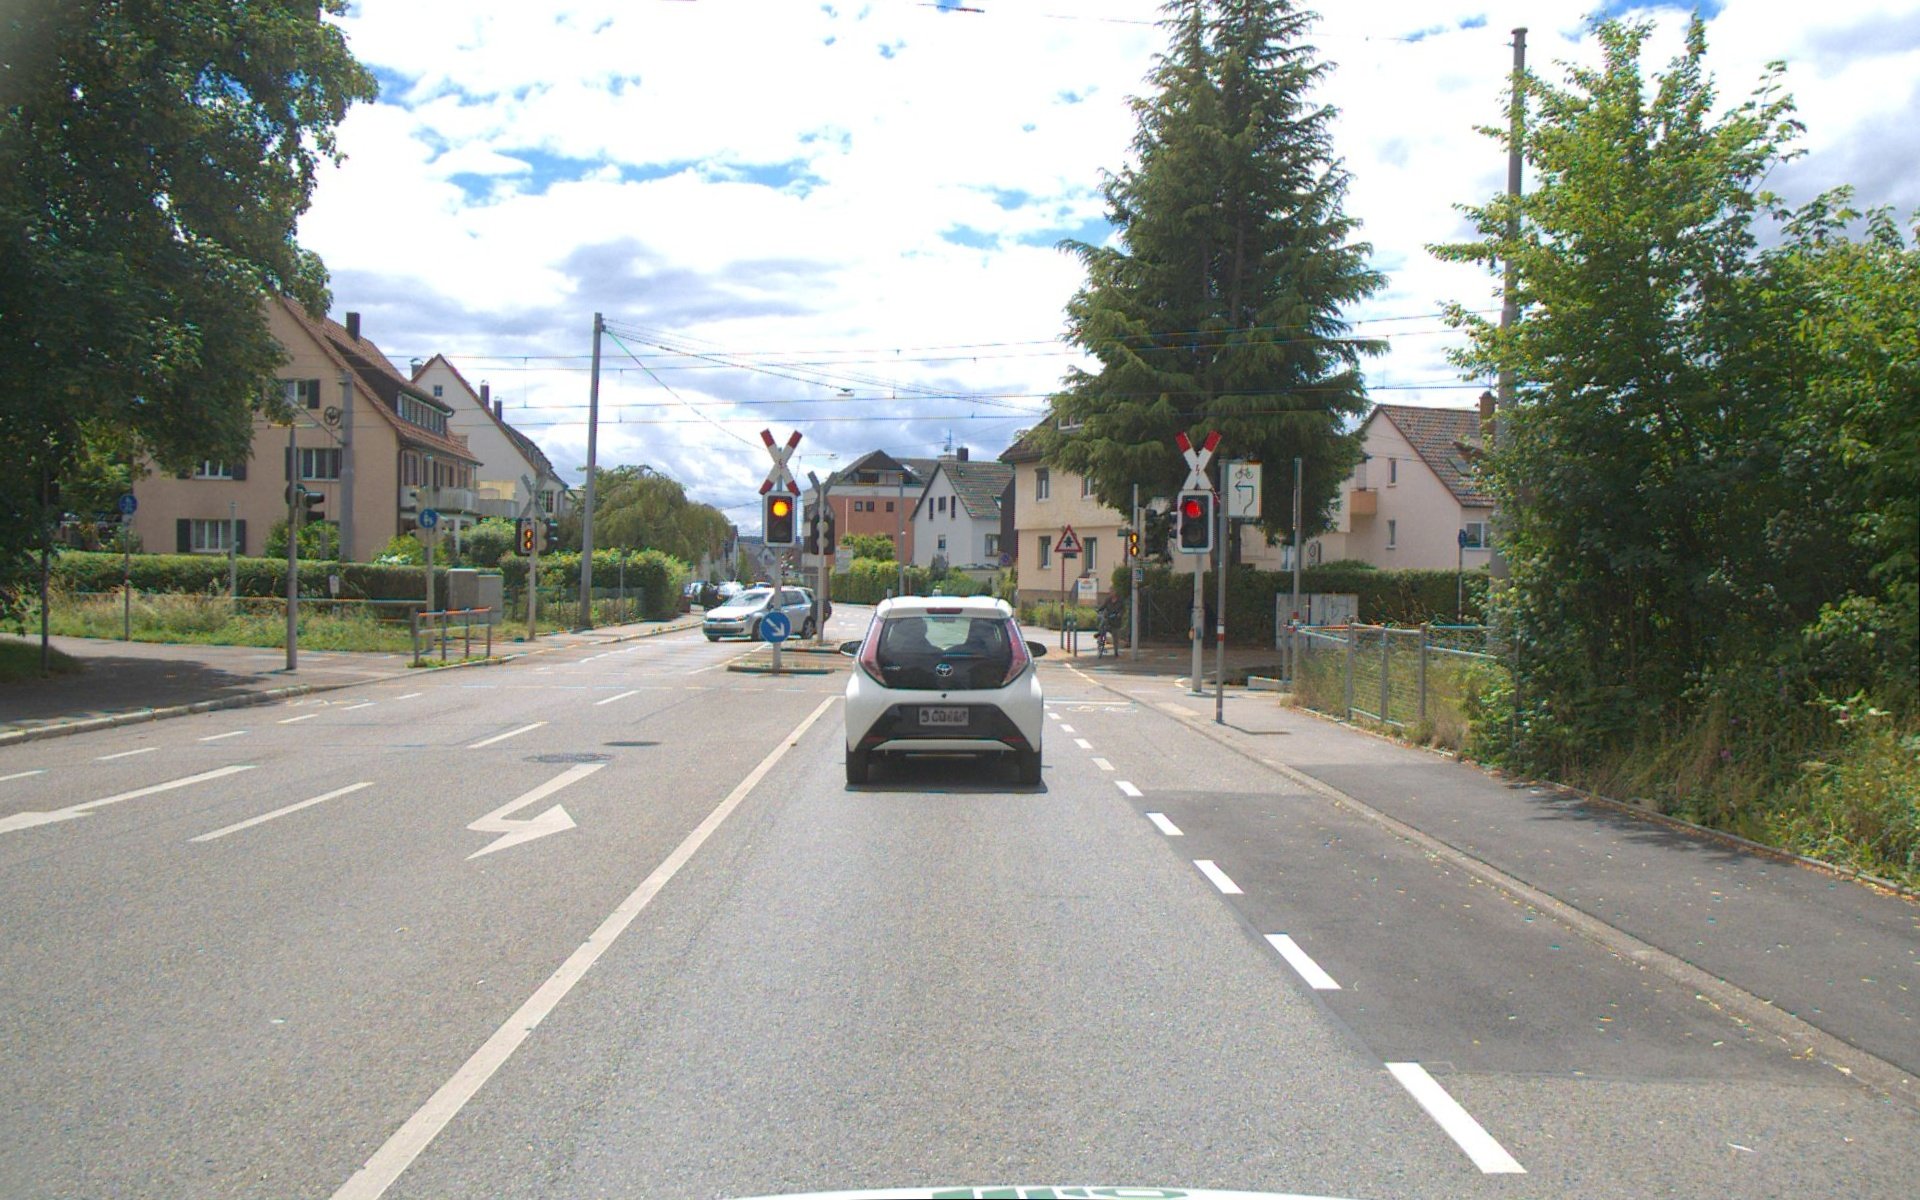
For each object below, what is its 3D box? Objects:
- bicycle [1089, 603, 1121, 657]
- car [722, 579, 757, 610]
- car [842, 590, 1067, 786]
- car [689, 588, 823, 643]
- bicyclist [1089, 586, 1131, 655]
[{"bbox_3d":[3.464,0.702,39.717,0.449,1.192,1.477,-2,3,-6],"label":"bicycle"},{"bbox_3d":[-13.117,-0.313,98.677,1.956,1.749,3.994,2,0,-7],"label":"car"},{"bbox_3d":[-0.165,0.673,14.544,1.687,1.467,3.705,2,0,-4],"label":"car"},{"bbox_3d":[-5.859,0.448,47.906,1.868,1.466,4.094,2,0,27],"label":"car"},{"bbox_3d":[3.608,0.492,39.793,0.825,1.580,0.755,-2,3,-7],"label":"bicyclist"}]
